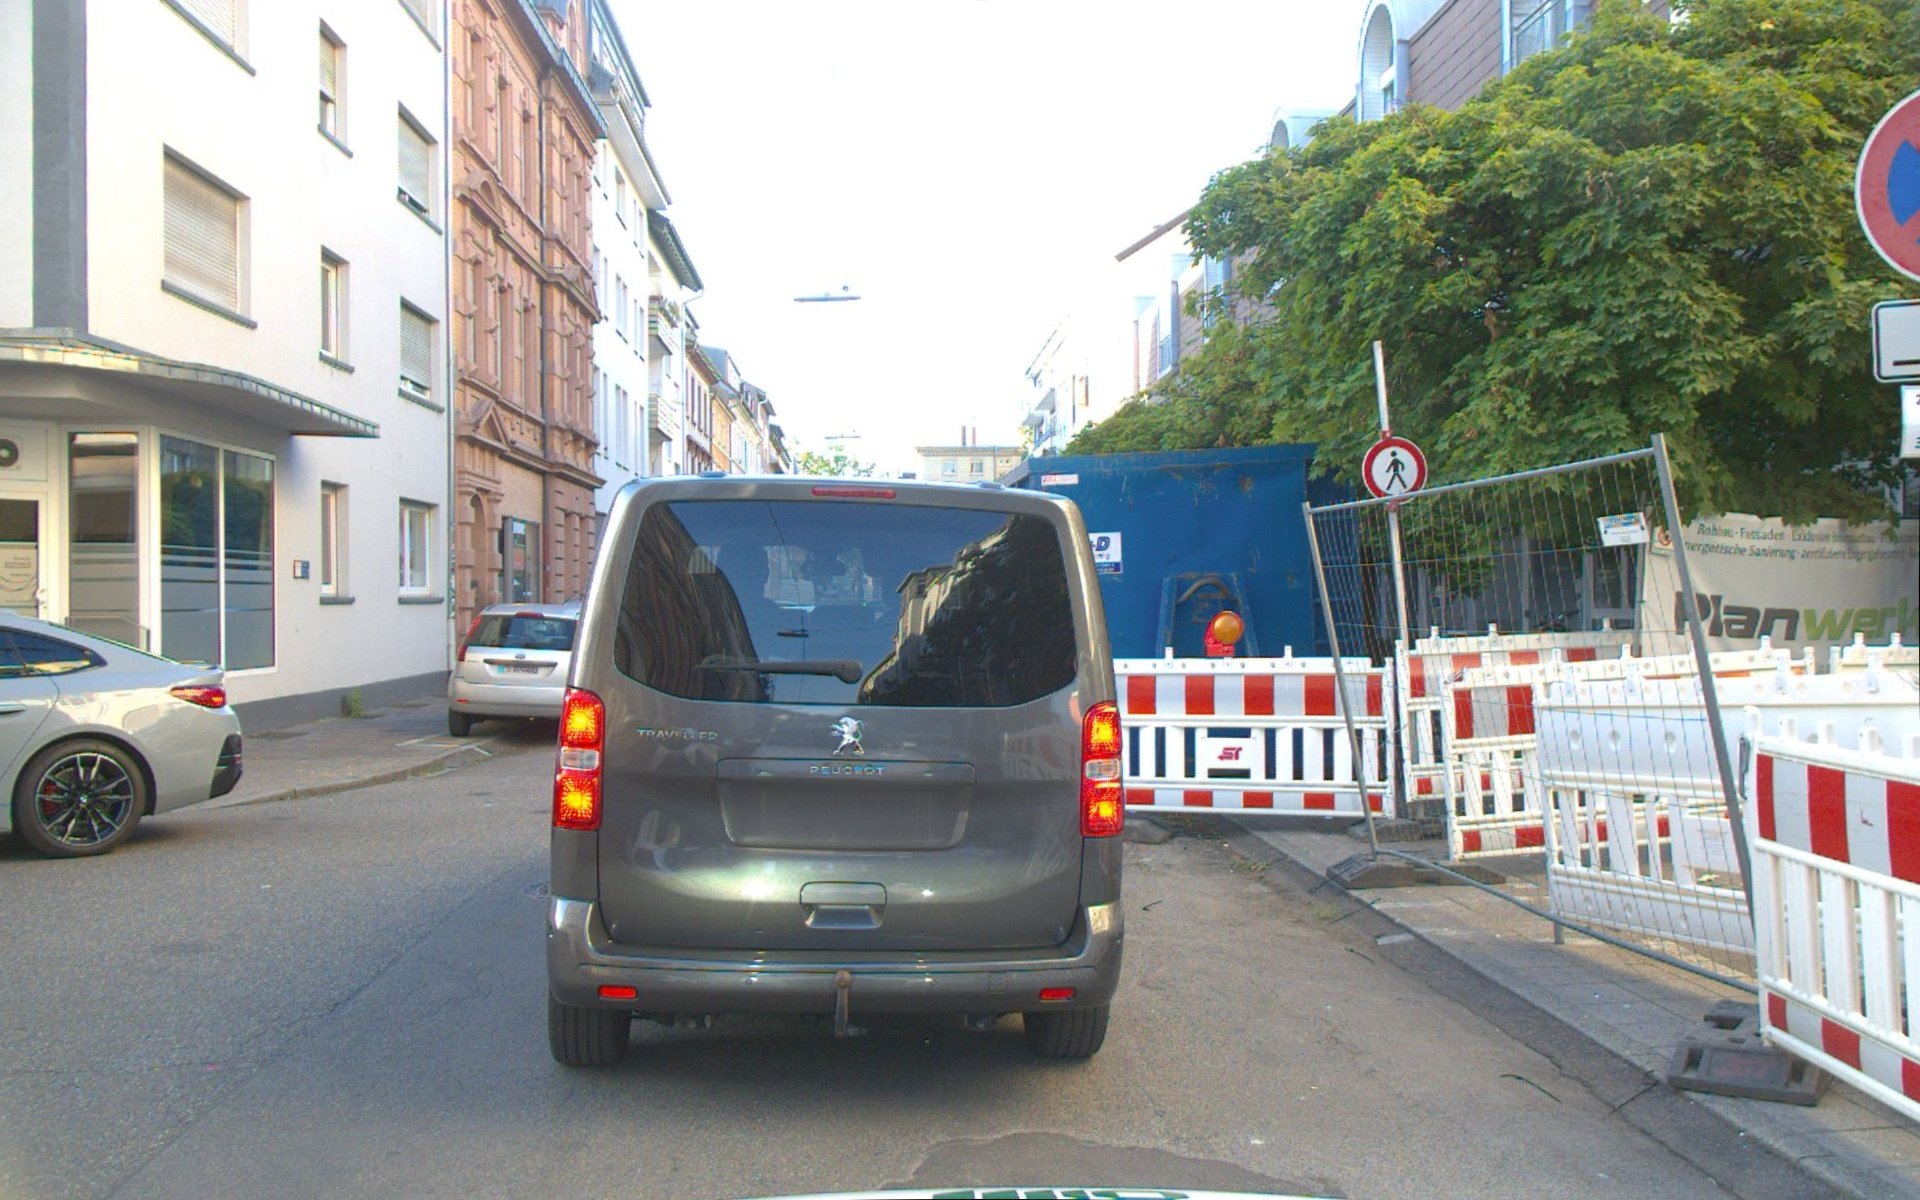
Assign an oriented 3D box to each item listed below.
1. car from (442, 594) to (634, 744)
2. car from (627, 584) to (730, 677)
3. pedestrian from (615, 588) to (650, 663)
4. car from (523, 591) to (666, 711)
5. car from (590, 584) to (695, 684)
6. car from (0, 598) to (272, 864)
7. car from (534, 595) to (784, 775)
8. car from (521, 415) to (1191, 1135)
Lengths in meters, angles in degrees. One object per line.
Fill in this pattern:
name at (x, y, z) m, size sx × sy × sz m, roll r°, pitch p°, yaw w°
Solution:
car at (-4.807, 0.753, 19.247) m, size 1.625 × 1.485 × 3.413 m, roll 4°, pitch -1°, yaw -7°
car at (-5.933, 0.642, 35.266) m, size 1.856 × 1.749 × 3.748 m, roll 4°, pitch -1°, yaw -7°
pedestrian at (-7.514, 0.573, 37.953) m, size 0.726 × 1.693 × 0.702 m, roll -1°, pitch 0°, yaw -8°
car at (-5.349, 0.721, 24.547) m, size 1.625 × 1.552 × 3.413 m, roll 4°, pitch -1°, yaw -7°
car at (-6.020, 0.634, 31.620) m, size 1.635 × 1.695 × 3.087 m, roll 4°, pitch -1°, yaw -7°
car at (-6.651, 0.750, 9.350) m, size 4.773 × 1.477 × 1.903 m, roll -1°, pitch 0°, yaw -44°
car at (-2.731, 0.755, 15.711) m, size 1.622 × 1.486 × 3.418 m, roll -1°, pitch -1°, yaw 2°
car at (-0.502, 0.489, 6.637) m, size 1.829 × 1.919 × 4.229 m, roll 0°, pitch -1°, yaw -7°
